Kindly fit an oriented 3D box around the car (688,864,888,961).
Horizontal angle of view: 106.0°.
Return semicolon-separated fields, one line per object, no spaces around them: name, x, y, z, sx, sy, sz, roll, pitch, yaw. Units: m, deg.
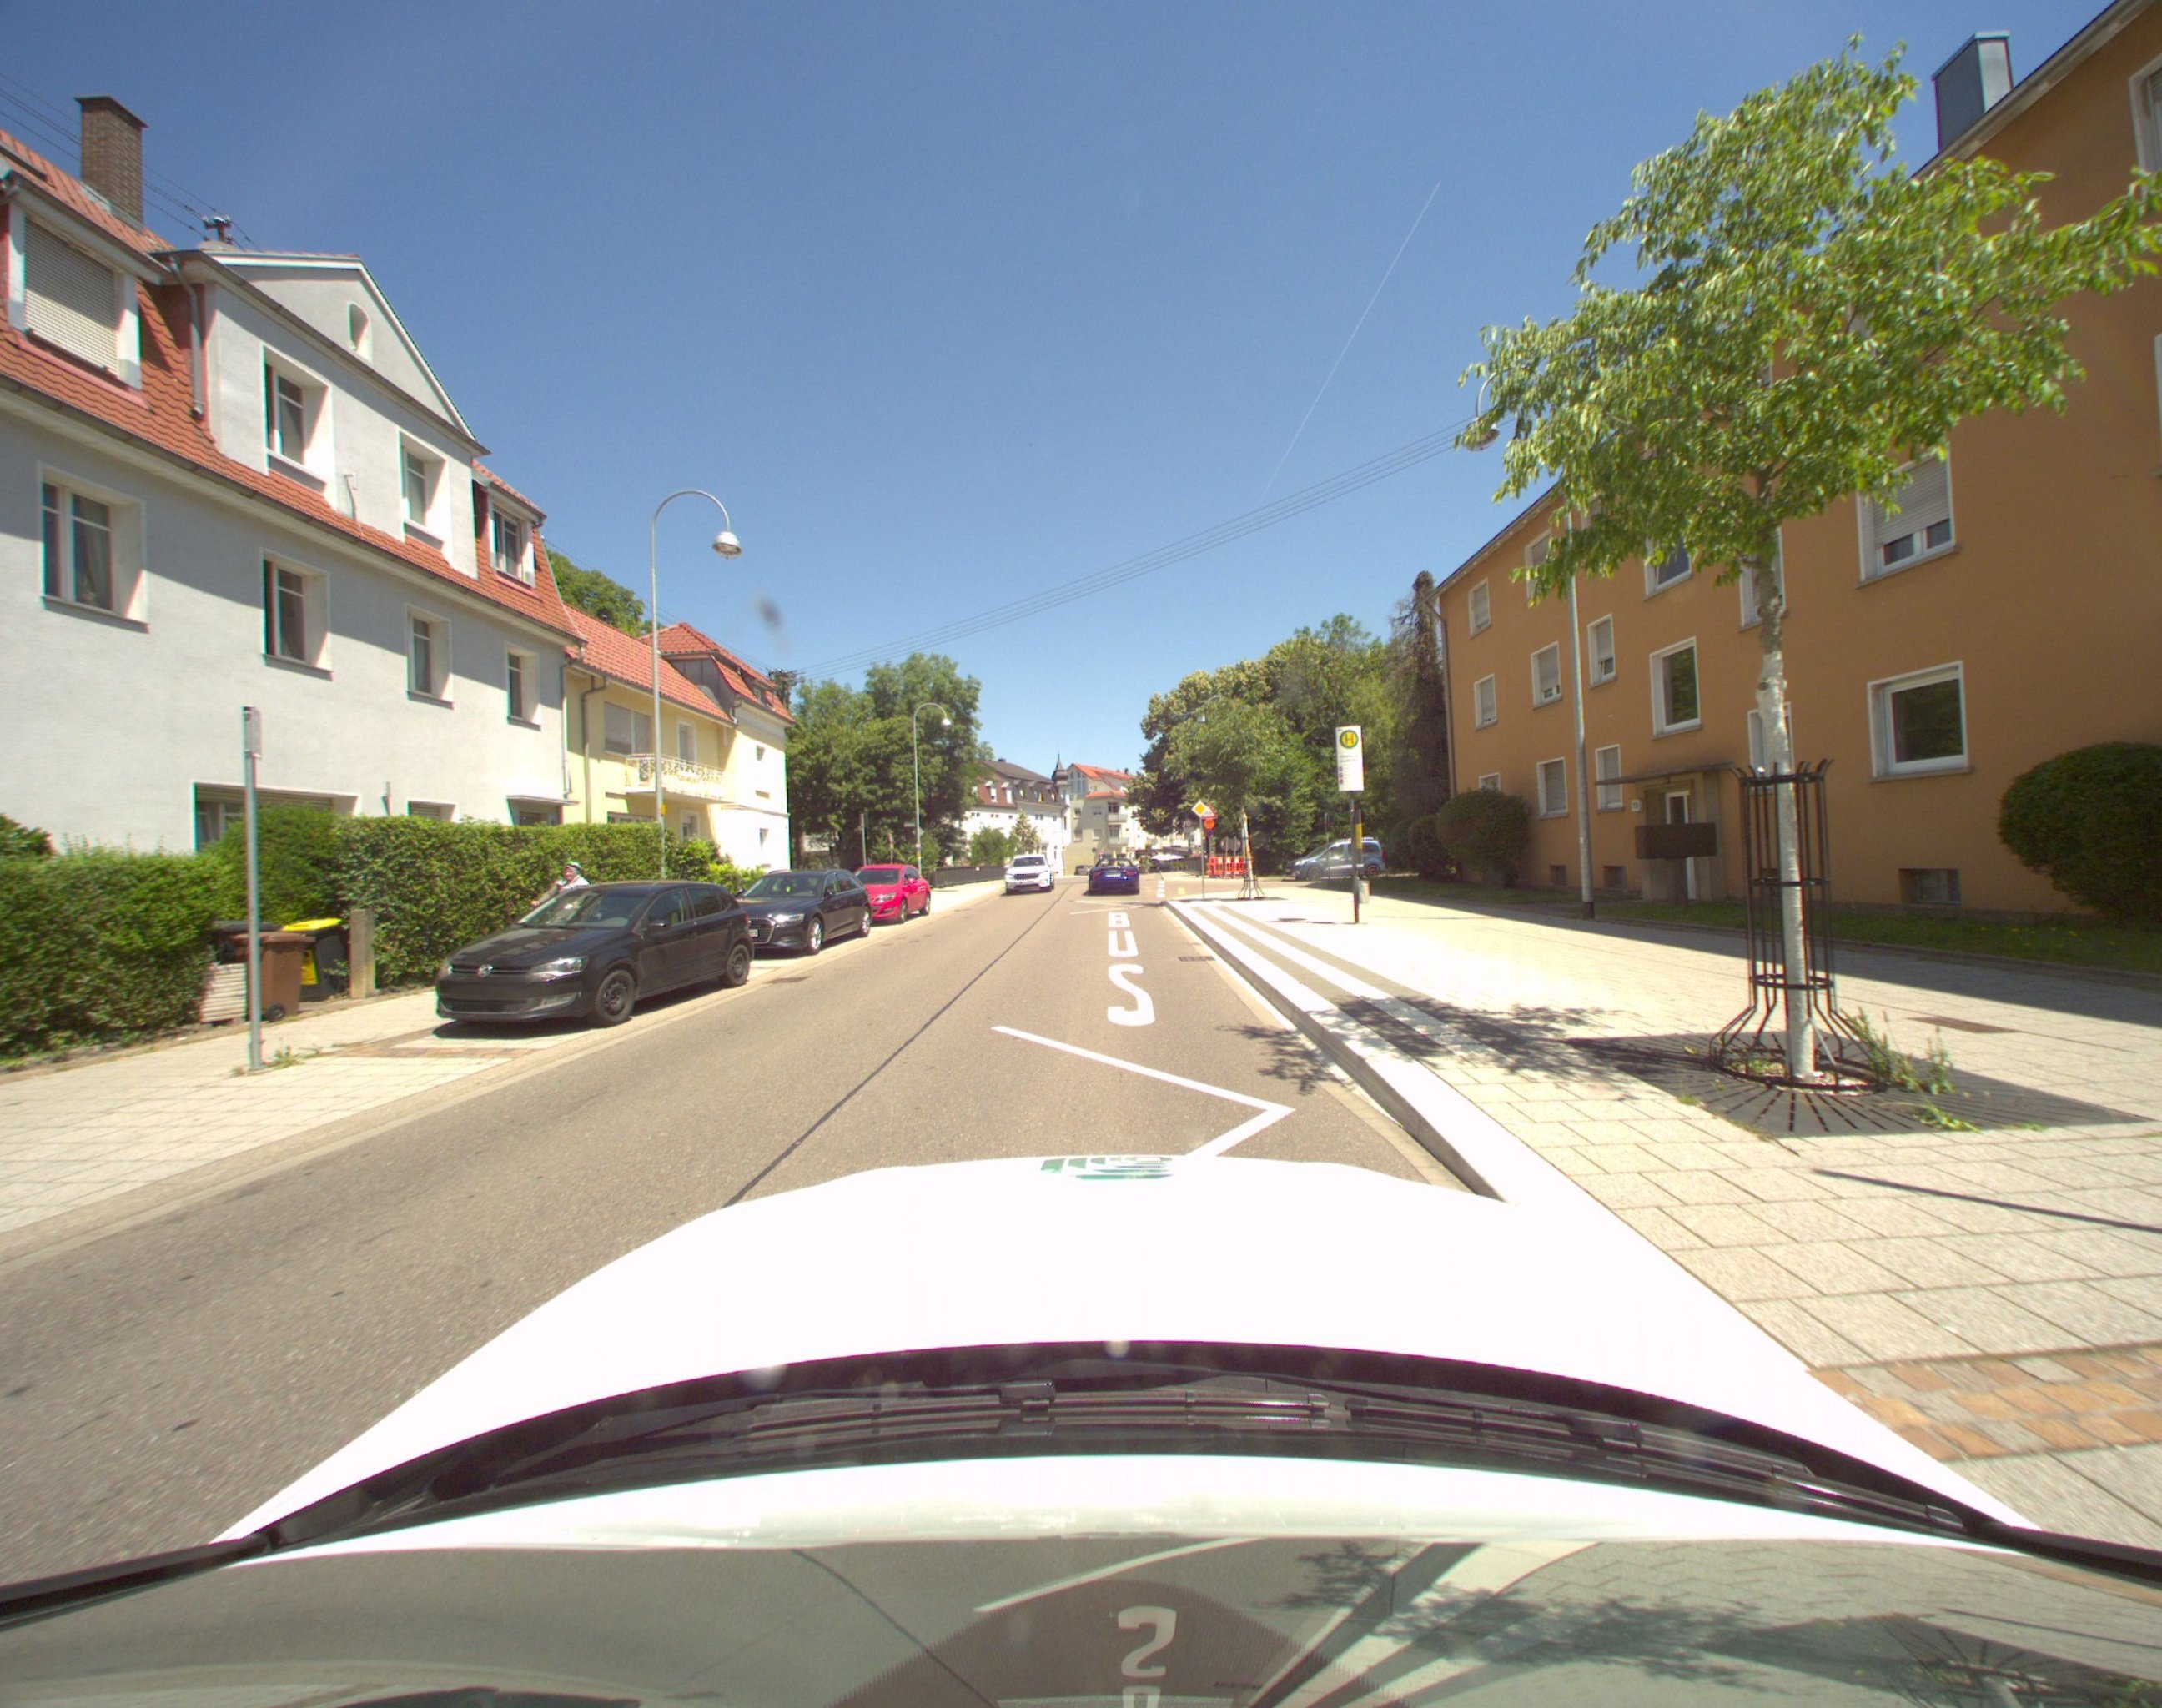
car;-5.419;0.987;15.976;1.856;1.461;5.309;-1;0;1

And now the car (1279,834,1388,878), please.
car;11.365;0.105;36.748;4.333;1.839;1.746;-1;-1;-7

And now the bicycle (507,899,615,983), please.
bicycle;-7.757;1.266;12.228;0.554;1.084;1.515;-3;0;3

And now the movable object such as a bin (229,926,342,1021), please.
movable object such as a bin;-8.681;1.287;8.913;0.492;0.912;0.706;-3;0;2

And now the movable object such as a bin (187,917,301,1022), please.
movable object such as a bin;-9.152;1.238;8.924;0.465;1.030;0.706;-3;0;2

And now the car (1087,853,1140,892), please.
car;1.257;0.688;31.249;1.863;1.342;4.598;-1;-1;2

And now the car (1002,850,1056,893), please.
car;-2.167;0.710;34.753;1.871;1.597;4.359;-4;0;0

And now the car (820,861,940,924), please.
car;-5.226;0.947;21.896;1.870;1.479;4.740;0;0;2

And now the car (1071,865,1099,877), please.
car;0.505;2.302;109.128;3.232;1.458;1.701;-3;-1;25

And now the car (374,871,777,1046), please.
car;-5.423;0.993;9.540;1.779;1.459;4.205;0;0;6

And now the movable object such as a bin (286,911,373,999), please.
movable object such as a bin;-9.356;1.243;10.157;0.465;0.990;0.614;-3;0;2

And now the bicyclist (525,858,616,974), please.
bicyclist;-7.701;0.911;12.312;0.779;1.659;0.835;-3;-1;0

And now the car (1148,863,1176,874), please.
car;10.653;1.886;107.159;1.696;1.461;4.155;-1;-1;39
